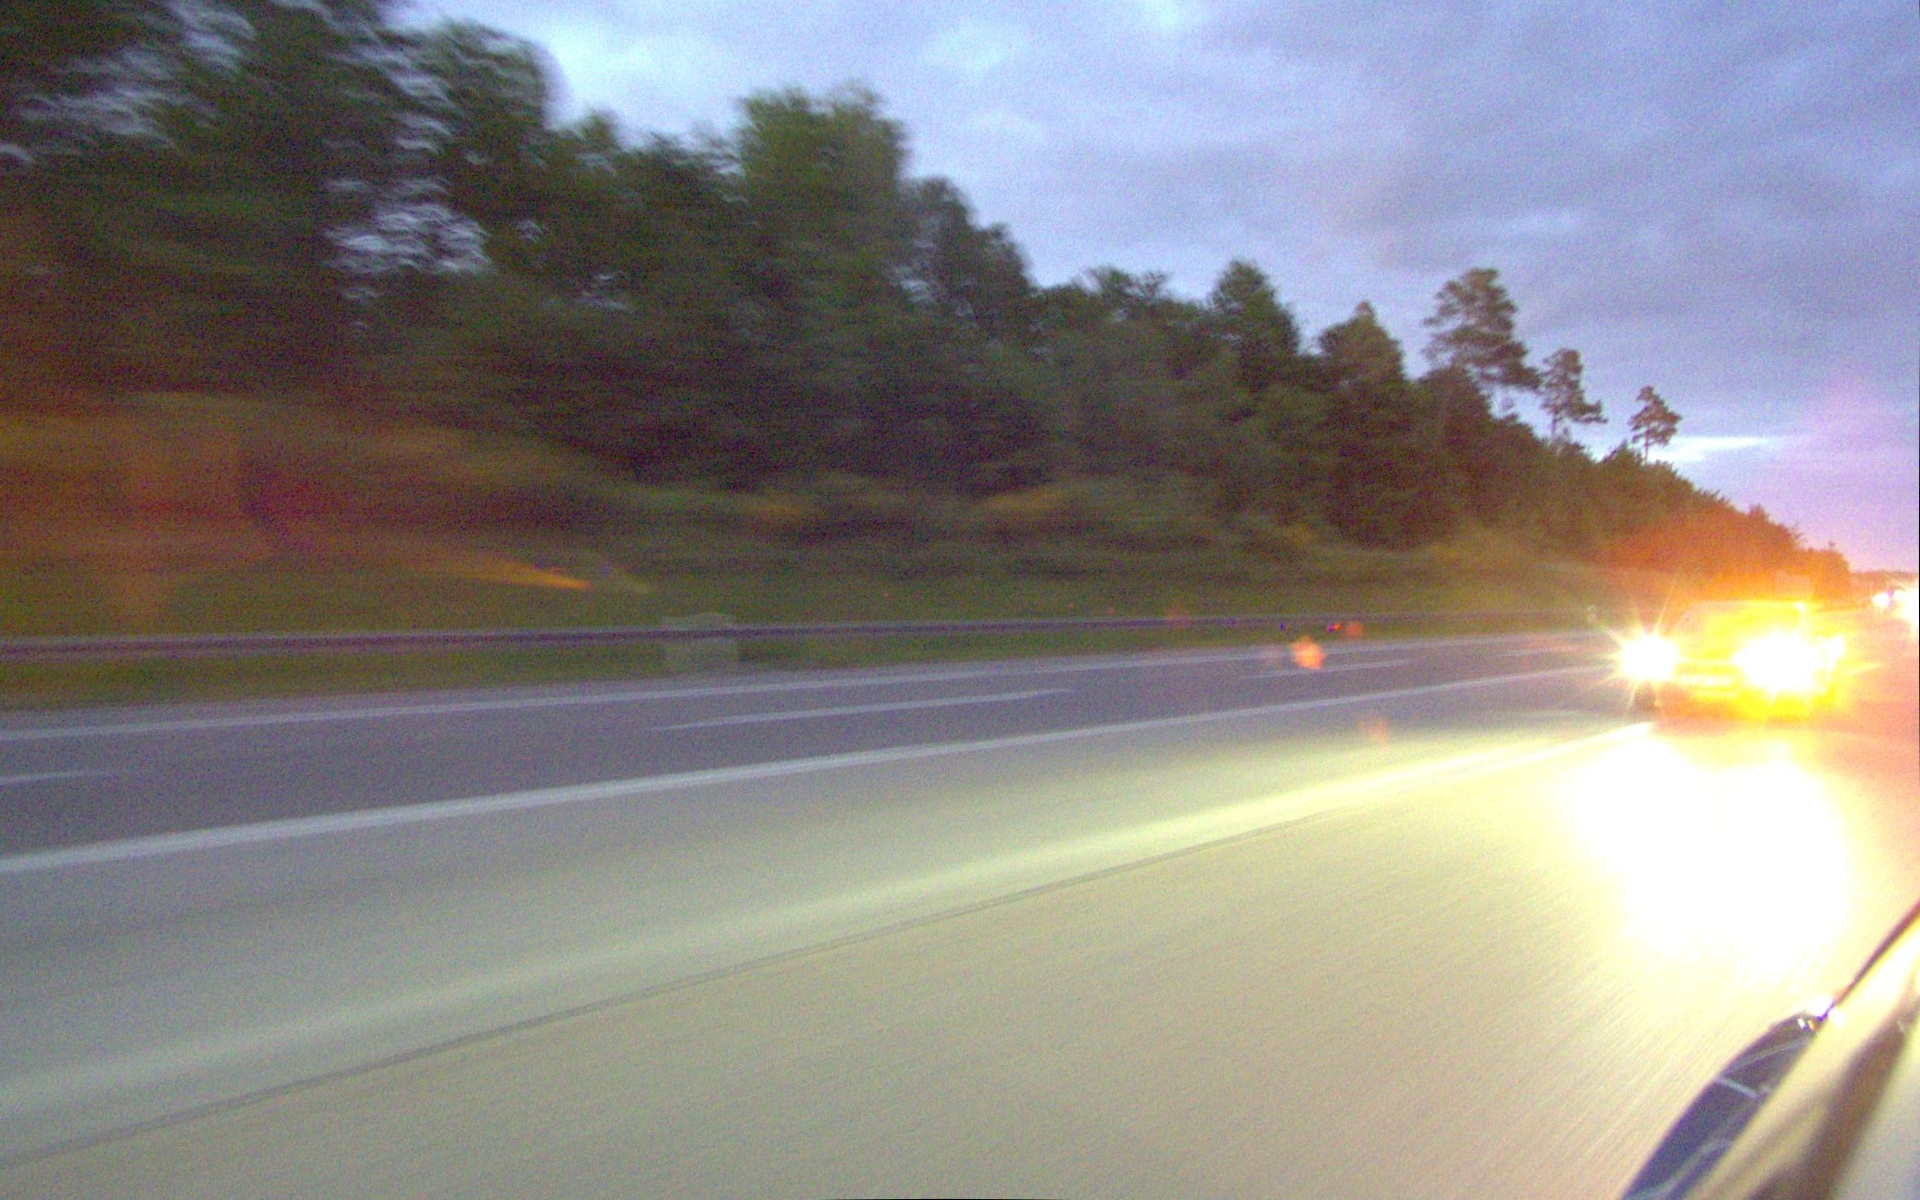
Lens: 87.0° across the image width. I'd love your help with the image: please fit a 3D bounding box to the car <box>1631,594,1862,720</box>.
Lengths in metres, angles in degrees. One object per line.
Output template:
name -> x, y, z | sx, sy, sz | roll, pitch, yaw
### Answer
car -> 10.961, 0.655, 13.980 | 4.376, 1.461, 1.877 | 0, 0, -43
